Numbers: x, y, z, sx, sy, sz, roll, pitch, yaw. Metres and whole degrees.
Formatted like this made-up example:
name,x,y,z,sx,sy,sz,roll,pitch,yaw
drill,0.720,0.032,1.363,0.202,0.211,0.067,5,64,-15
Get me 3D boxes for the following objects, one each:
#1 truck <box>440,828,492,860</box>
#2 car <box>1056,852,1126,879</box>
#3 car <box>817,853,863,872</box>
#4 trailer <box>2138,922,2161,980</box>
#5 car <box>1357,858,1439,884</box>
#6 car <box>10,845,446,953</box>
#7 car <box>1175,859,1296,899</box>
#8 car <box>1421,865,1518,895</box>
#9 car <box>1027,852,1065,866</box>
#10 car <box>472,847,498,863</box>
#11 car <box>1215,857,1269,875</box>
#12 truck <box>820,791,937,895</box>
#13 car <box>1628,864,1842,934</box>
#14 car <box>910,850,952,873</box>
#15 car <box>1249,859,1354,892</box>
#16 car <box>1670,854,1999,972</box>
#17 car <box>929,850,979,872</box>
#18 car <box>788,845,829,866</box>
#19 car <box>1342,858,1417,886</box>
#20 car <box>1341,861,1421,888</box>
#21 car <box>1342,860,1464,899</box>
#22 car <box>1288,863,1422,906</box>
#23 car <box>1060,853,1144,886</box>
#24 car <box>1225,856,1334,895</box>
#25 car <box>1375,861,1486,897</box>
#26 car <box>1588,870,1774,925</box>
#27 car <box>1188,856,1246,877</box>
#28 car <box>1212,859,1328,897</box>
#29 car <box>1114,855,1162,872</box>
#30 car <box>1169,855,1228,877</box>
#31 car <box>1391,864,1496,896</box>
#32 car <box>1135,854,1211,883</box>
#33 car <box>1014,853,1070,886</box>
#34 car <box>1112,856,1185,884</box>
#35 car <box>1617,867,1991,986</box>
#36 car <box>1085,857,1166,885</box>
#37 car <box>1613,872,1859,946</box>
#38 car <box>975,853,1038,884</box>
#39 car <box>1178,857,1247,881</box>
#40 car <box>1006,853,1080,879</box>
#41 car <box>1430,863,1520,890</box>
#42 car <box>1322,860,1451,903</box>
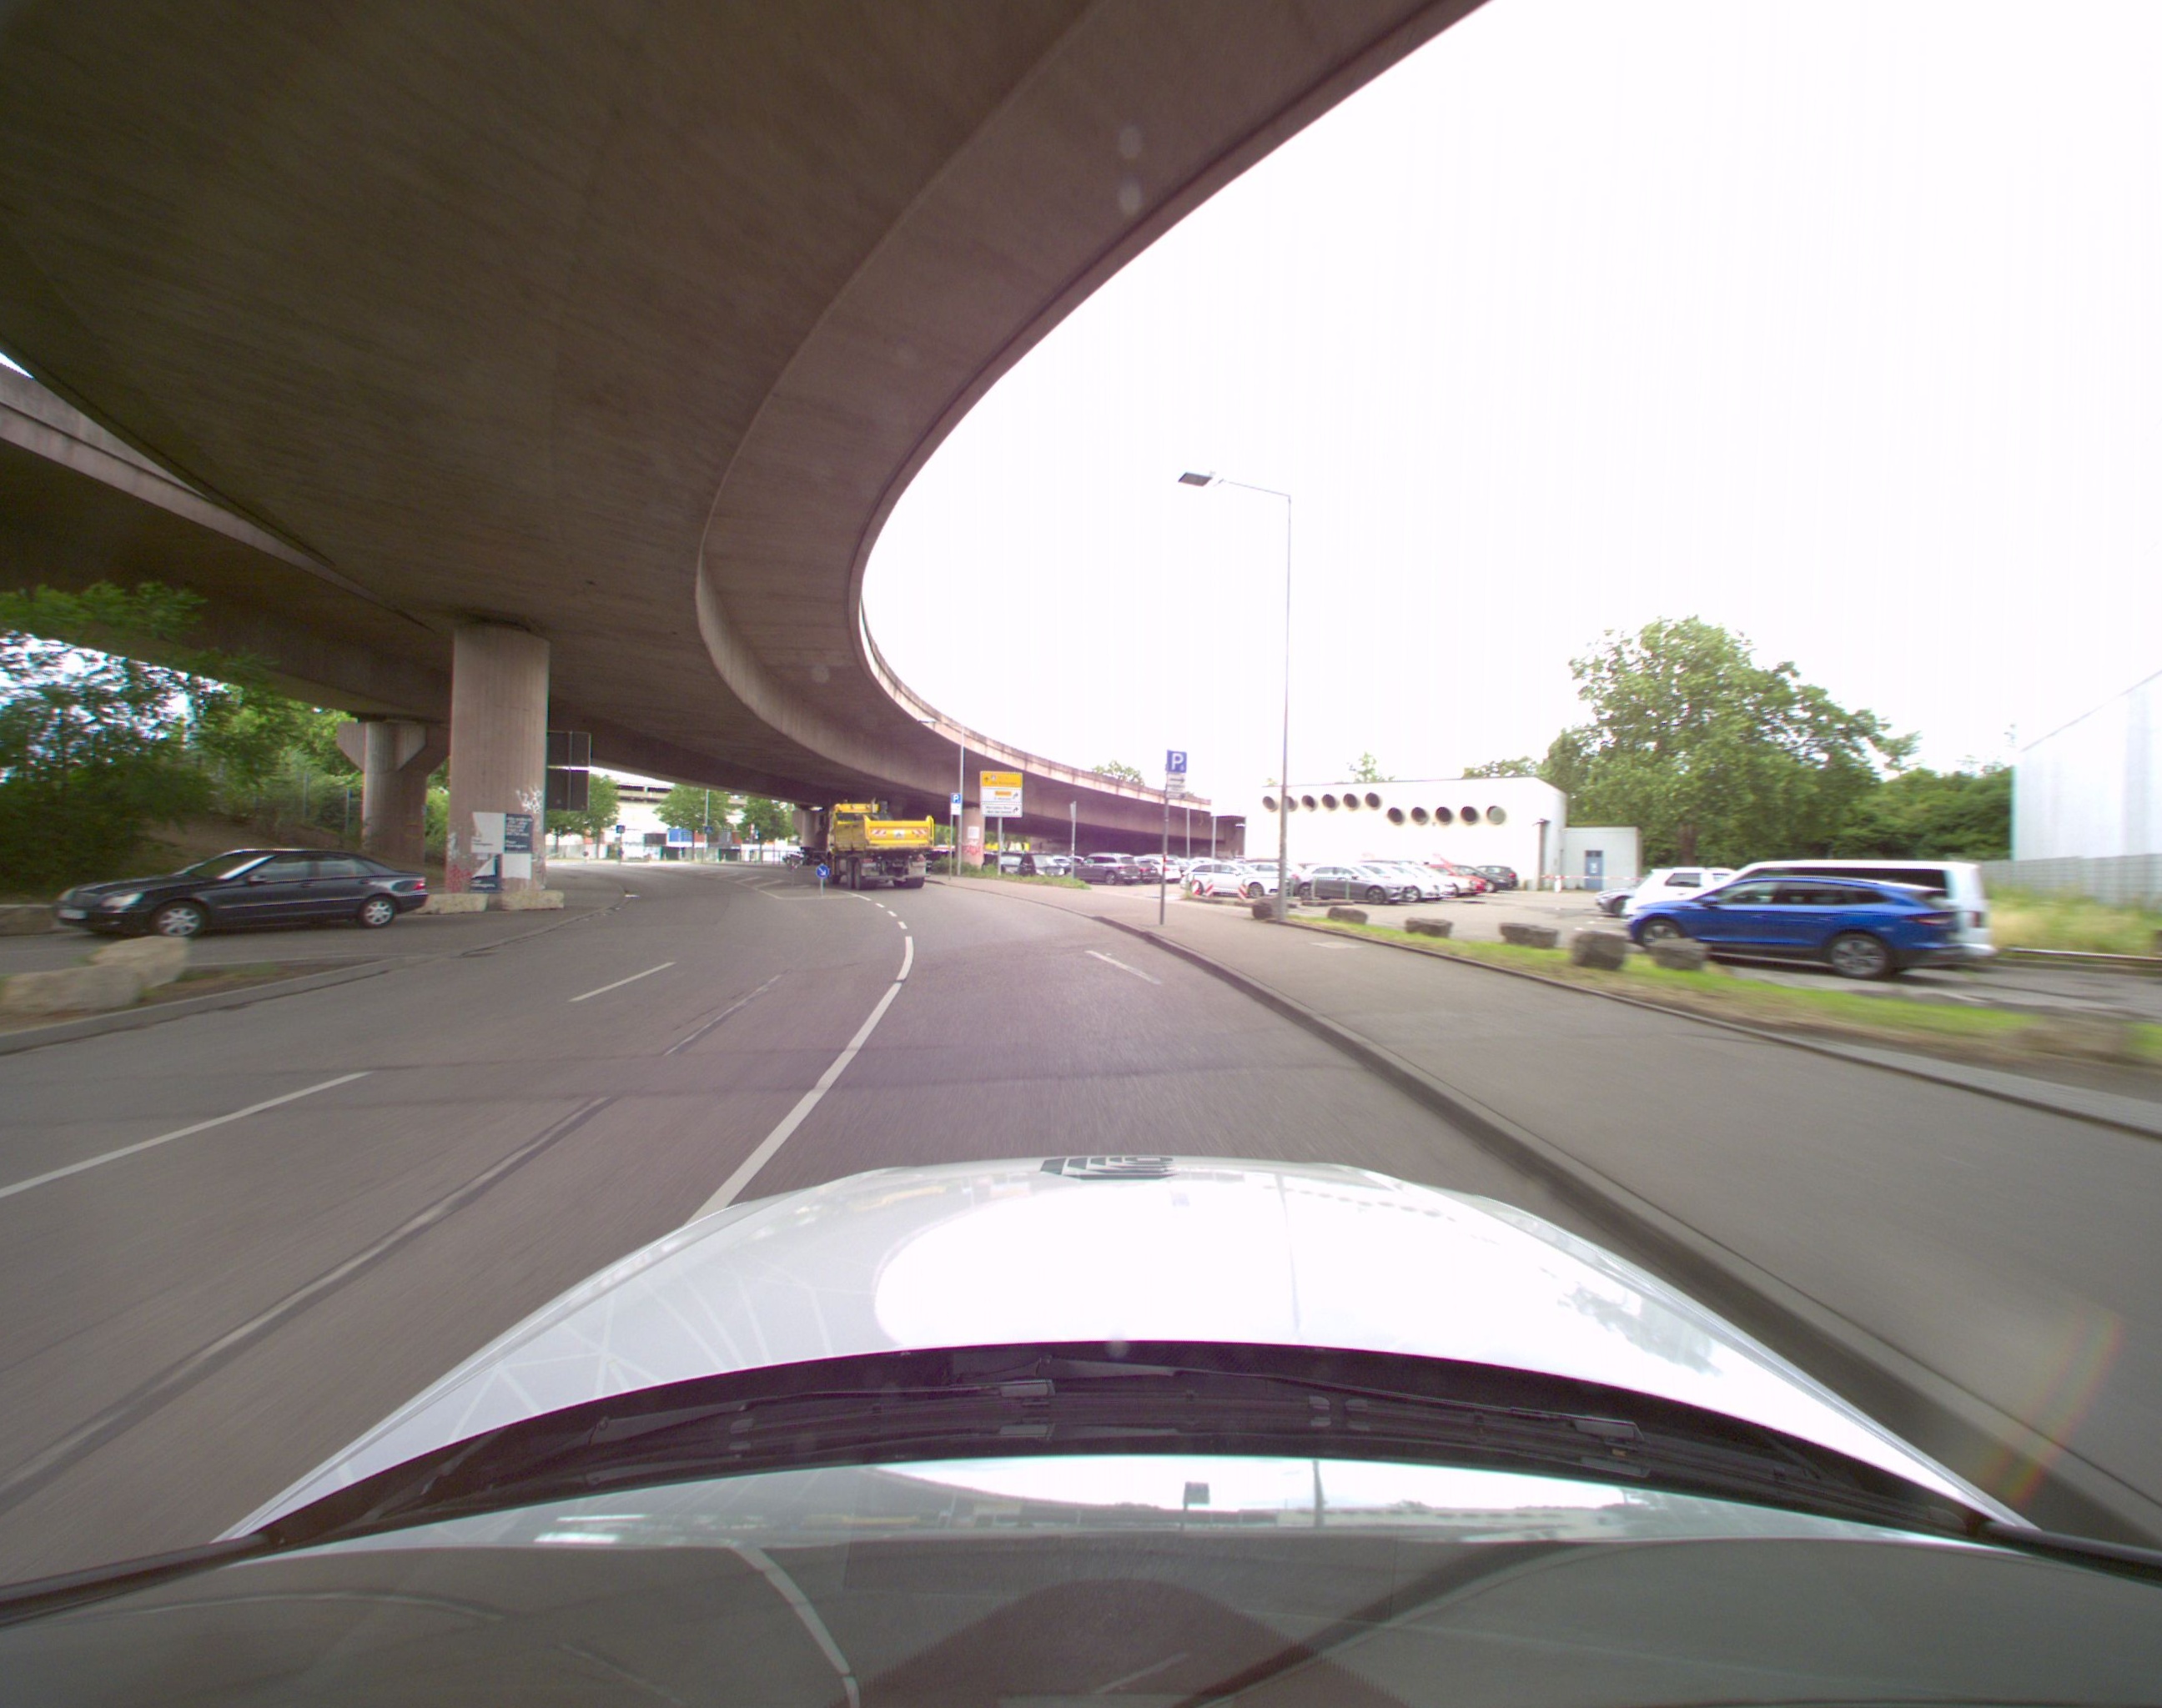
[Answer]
name,x,y,z,sx,sy,sz,roll,pitch,yaw
truck,-73.057,-1.133,96.656,7.820,3.558,2.699,-1,1,36
car,0.614,0.725,51.284,4.138,1.592,1.850,1,0,39
car,-20.653,0.683,69.643,3.959,1.552,1.649,1,0,35
trailer,18.745,1.592,12.642,2.527,0.899,1.493,-1,-1,37
car,19.925,1.036,51.293,4.431,1.533,1.780,1,0,39
car,-14.097,0.650,13.973,1.808,1.430,4.795,3,0,17
car,6.394,0.989,33.947,4.627,1.475,1.870,1,0,42
car,21.018,1.374,44.157,4.386,1.425,1.850,1,0,42
car,-3.838,0.561,89.753,3.812,1.478,1.769,1,0,32
car,-53.915,0.062,73.616,1.690,1.430,3.954,1,0,-39
car,13.792,1.024,69.697,4.138,1.409,1.850,1,0,39
truck,-8.370,-0.425,32.893,2.773,3.698,7.810,-2,1,-27
car,17.351,1.114,21.785,4.305,1.588,1.786,1,0,41
car,-10.666,0.560,57.776,1.795,1.507,3.823,2,-2,-28
car,10.738,1.016,39.867,4.561,1.444,1.870,1,0,39
car,14.743,1.015,16.190,1.904,1.957,4.624,1,0,-42
car,-10.156,0.568,65.115,3.812,1.698,1.850,1,0,39
car,-19.908,0.119,59.459,1.619,1.397,3.537,3,-2,-41
car,18.083,1.064,49.393,3.925,1.533,1.780,1,0,39
car,17.300,1.173,47.009,3.925,1.392,1.780,1,0,39
car,13.697,1.043,34.799,4.444,1.513,1.850,1,0,42
car,10.229,1.094,30.632,4.386,1.425,1.850,1,0,42
car,1.117,0.811,44.399,4.413,1.675,1.756,1,0,39
car,9.252,0.960,38.093,4.561,1.628,1.870,1,0,39
car,16.423,1.143,38.421,4.444,1.513,1.850,1,0,42
car,17.778,1.221,24.248,4.306,1.384,1.786,1,0,42
car,10.897,0.963,65.392,4.138,1.592,1.850,1,0,39
car,8.271,1.028,35.831,4.627,1.475,1.870,1,0,39
car,5.301,0.887,76.404,4.138,1.465,1.850,1,0,39
car,9.124,0.933,63.237,4.138,1.592,1.850,1,0,39
car,17.878,1.237,40.308,4.386,1.425,1.850,1,0,42
car,5.648,0.886,50.469,4.375,1.691,1.768,1,0,39
car,-1.830,0.688,37.571,1.548,1.479,2.736,1,0,-27
car,4.016,0.921,48.661,4.035,1.557,1.768,1,0,39
car,12.431,1.109,14.381,1.782,1.634,4.638,1,0,-32
car,2.517,0.958,46.539,4.402,1.449,1.768,1,0,39
car,15.746,1.234,19.753,4.498,1.456,1.786,1,0,44
car,-3.861,0.734,41.598,1.739,1.479,4.212,1,0,-27
car,8.679,0.970,53.995,4.206,1.509,1.720,1,0,39
car,-2.278,0.676,47.805,4.138,1.421,1.850,1,0,39
car,22.854,1.288,47.337,4.386,1.425,1.850,1,0,42
car,12.144,1.038,32.557,4.444,1.513,1.850,1,0,42
